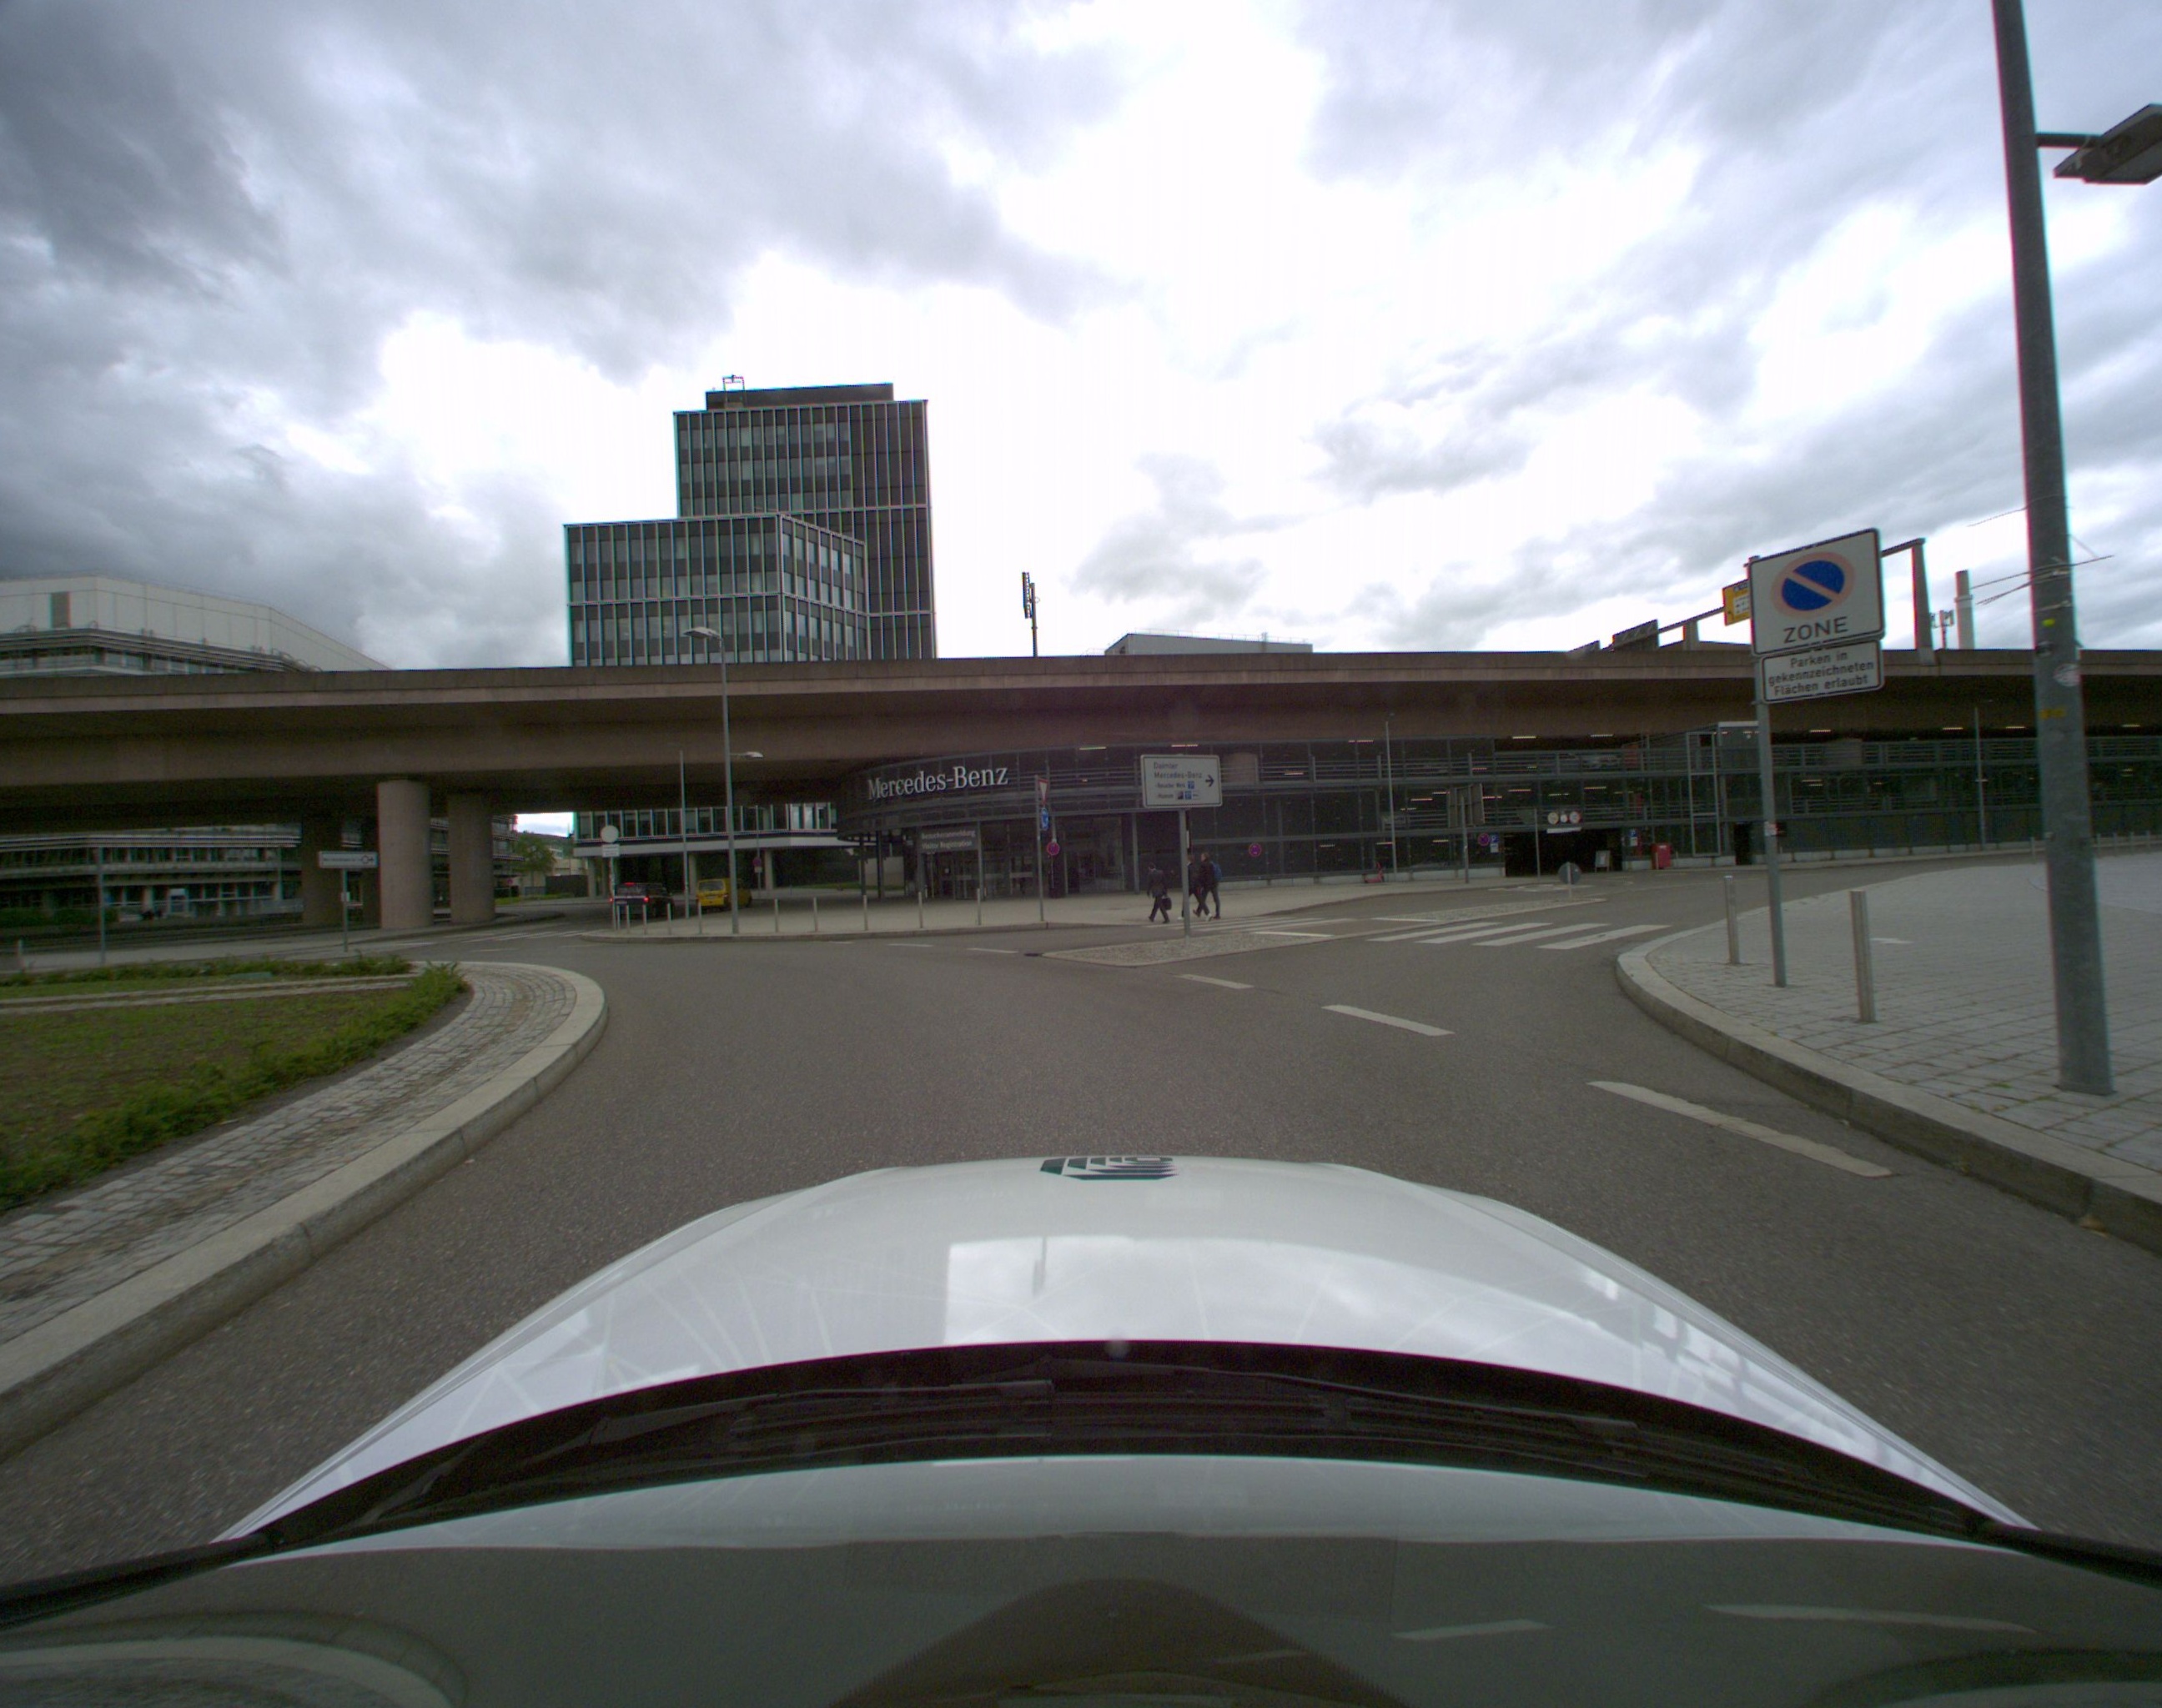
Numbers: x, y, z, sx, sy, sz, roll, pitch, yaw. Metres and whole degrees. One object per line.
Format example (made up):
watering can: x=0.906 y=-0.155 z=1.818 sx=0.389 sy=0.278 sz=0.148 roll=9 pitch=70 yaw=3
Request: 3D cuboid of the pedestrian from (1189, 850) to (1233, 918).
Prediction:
pedestrian: x=3.551 y=0.812 z=22.255 sx=0.865 sy=1.798 sz=0.778 roll=-2 pitch=-1 yaw=-19

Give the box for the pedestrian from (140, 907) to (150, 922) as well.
pedestrian: x=-94.310 y=6.079 z=82.030 sx=0.498 sy=1.481 sz=0.539 roll=-1 pitch=-1 yaw=-32

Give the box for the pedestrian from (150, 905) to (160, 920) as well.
pedestrian: x=-95.050 y=6.035 z=83.609 sx=0.498 sy=1.481 sz=0.539 roll=-1 pitch=-1 yaw=-32

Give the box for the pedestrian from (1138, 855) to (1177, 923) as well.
pedestrian: x=1.974 y=0.895 z=21.201 sx=0.861 sy=1.705 sz=0.771 roll=-2 pitch=-1 yaw=-4

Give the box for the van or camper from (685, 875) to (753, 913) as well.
van or camper: x=-21.394 y=2.325 z=48.331 sx=2.352 sy=1.999 sz=4.495 roll=-2 pitch=0 yaw=-6

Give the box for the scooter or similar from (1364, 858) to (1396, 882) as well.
scooter or similar: x=14.581 y=0.781 z=39.770 sx=1.422 sy=1.123 sz=0.380 roll=-2 pitch=-1 yaw=-8

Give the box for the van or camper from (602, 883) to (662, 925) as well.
van or camper: x=-23.804 y=2.601 z=43.362 sx=2.155 sy=1.893 sz=4.866 roll=-2 pitch=0 yaw=-21

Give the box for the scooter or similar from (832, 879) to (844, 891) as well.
scooter or similar: x=-22.212 y=2.827 z=74.398 sx=0.703 sy=1.105 sz=1.487 roll=-1 pitch=-1 yaw=-29

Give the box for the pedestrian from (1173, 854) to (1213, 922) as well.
pedestrian: x=2.921 y=0.873 z=21.330 sx=0.785 sy=1.705 sz=0.770 roll=-2 pitch=-1 yaw=-11
